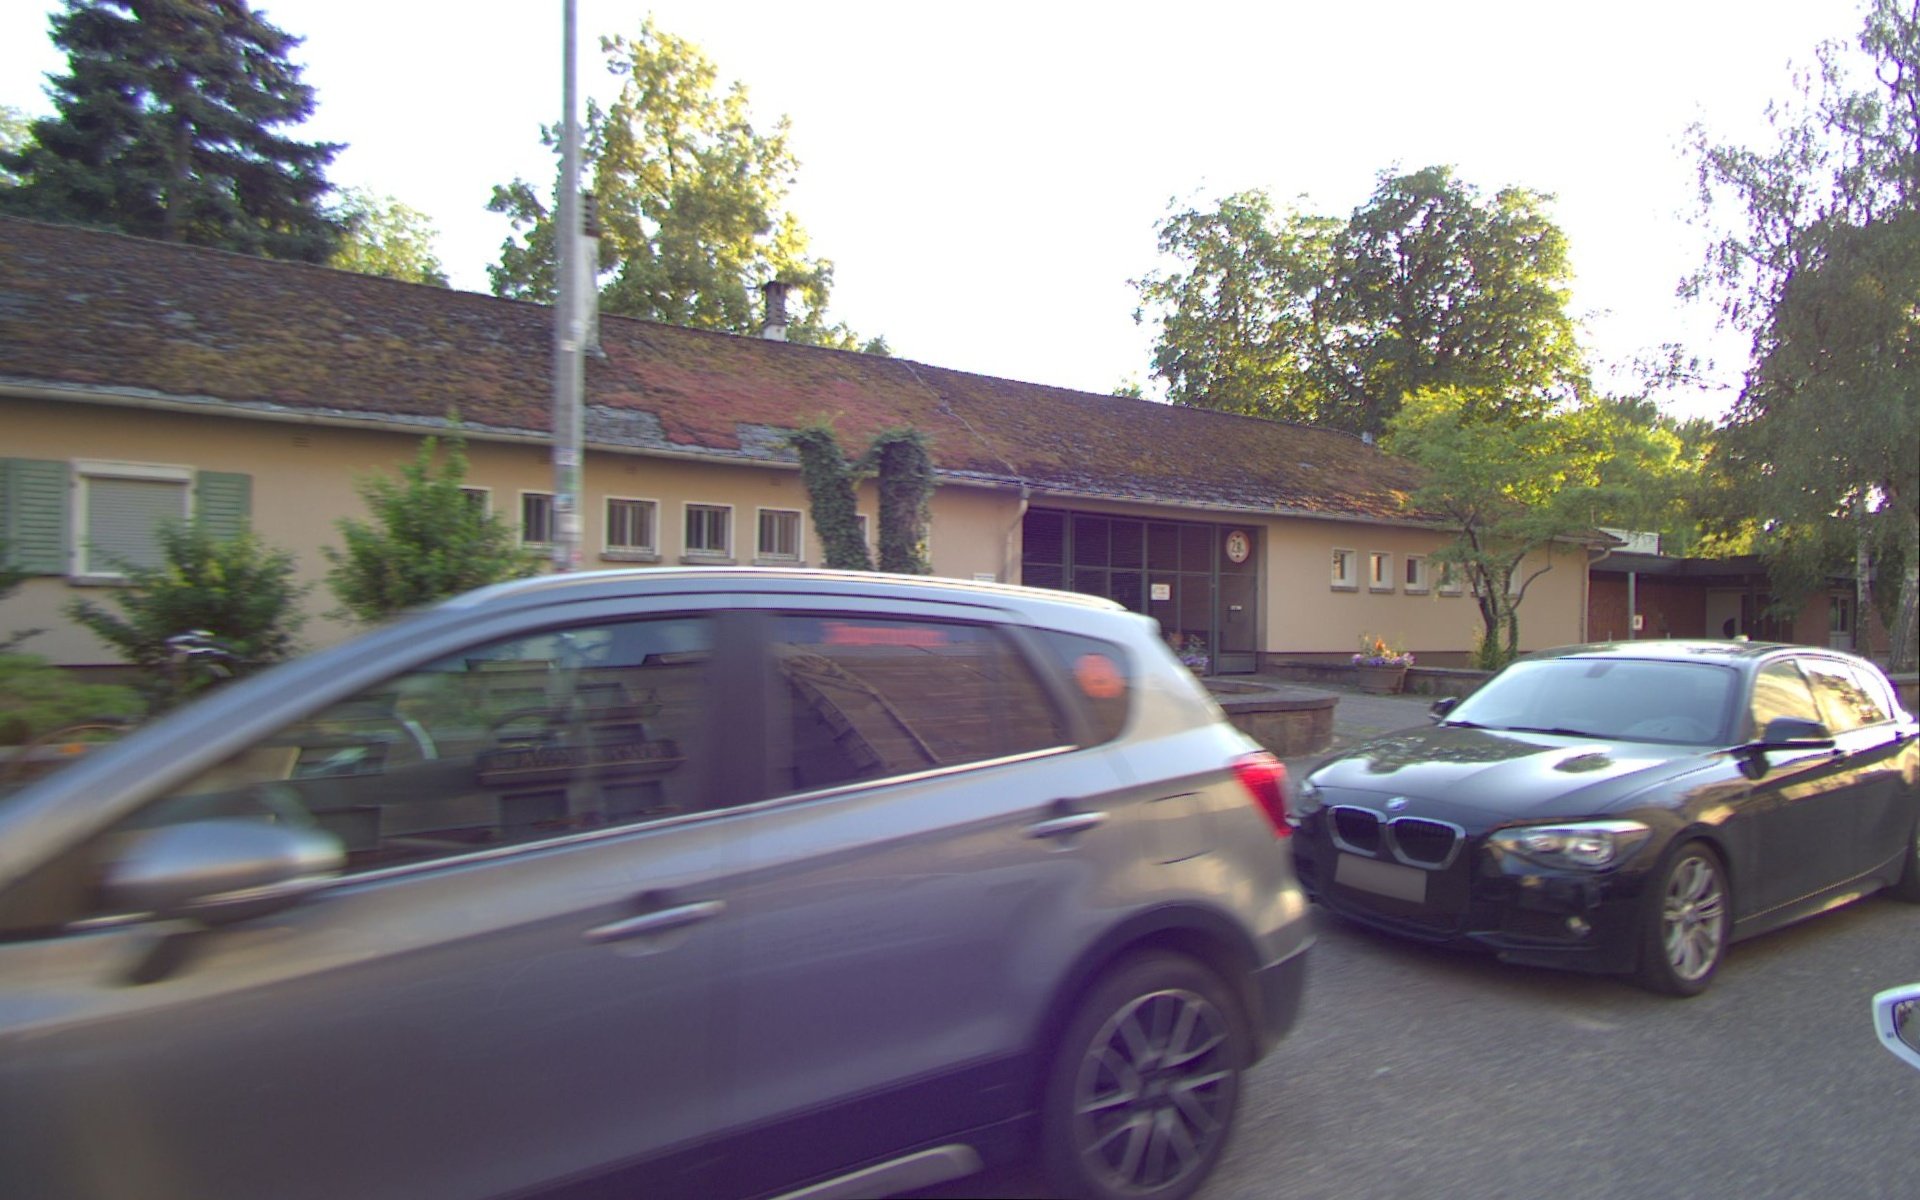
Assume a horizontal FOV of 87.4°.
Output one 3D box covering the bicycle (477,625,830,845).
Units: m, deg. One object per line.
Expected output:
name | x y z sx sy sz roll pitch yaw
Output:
bicycle | -1.782 0.733 5.994 1.933 1.133 0.540 1 0 -32

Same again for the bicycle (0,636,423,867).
bicycle | -3.729 0.680 4.904 1.931 0.977 0.541 1 0 -28

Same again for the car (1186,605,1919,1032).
car | 3.500 0.805 5.407 4.237 1.472 1.984 1 -1 -30

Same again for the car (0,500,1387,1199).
car | -1.356 0.644 2.474 4.732 1.539 1.984 1 -1 -30
